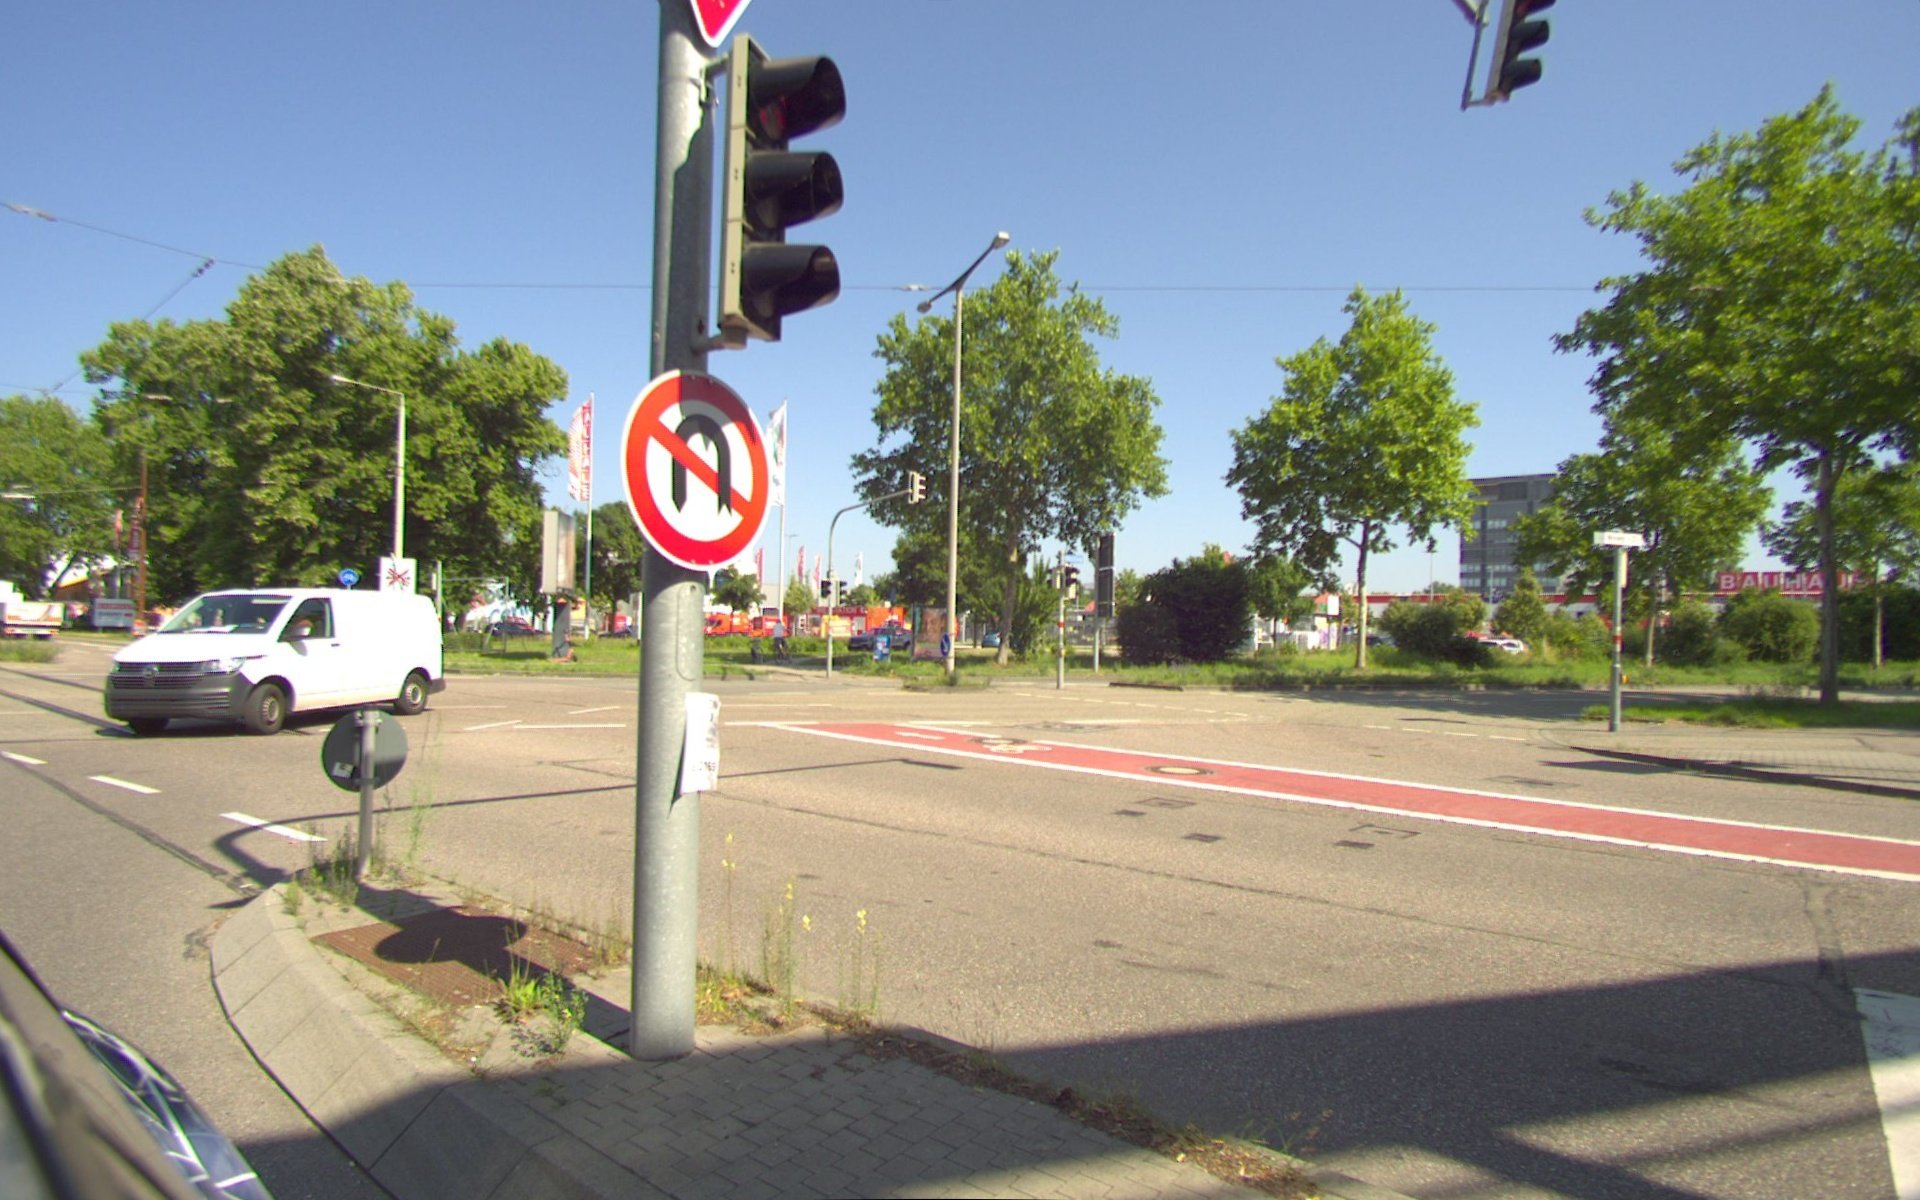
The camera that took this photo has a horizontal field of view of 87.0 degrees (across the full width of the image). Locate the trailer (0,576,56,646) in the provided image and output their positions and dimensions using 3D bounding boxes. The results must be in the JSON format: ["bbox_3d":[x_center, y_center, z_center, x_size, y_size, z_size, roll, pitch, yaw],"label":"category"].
[{"bbox_3d":[-58.729,0.801,62.167,12.126,3.992,2.903,-2,-1,39],"label":"trailer"}]

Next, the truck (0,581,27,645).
[{"bbox_3d":[-64.034,0.950,66.493,8.145,4.020,2.903,-2,-1,39],"label":"truck"}]

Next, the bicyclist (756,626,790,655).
[{"bbox_3d":[-7.206,1.571,39.057,0.889,1.092,0.941,0,-2,31],"label":"bicyclist"}]

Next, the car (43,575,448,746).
[{"bbox_3d":[-9.790,0.794,14.534,1.865,2.009,4.963,1,-2,7],"label":"car"}]

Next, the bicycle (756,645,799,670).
[{"bbox_3d":[-7.016,2.193,38.959,0.545,0.929,1.856,0,-2,32],"label":"bicycle"}]
